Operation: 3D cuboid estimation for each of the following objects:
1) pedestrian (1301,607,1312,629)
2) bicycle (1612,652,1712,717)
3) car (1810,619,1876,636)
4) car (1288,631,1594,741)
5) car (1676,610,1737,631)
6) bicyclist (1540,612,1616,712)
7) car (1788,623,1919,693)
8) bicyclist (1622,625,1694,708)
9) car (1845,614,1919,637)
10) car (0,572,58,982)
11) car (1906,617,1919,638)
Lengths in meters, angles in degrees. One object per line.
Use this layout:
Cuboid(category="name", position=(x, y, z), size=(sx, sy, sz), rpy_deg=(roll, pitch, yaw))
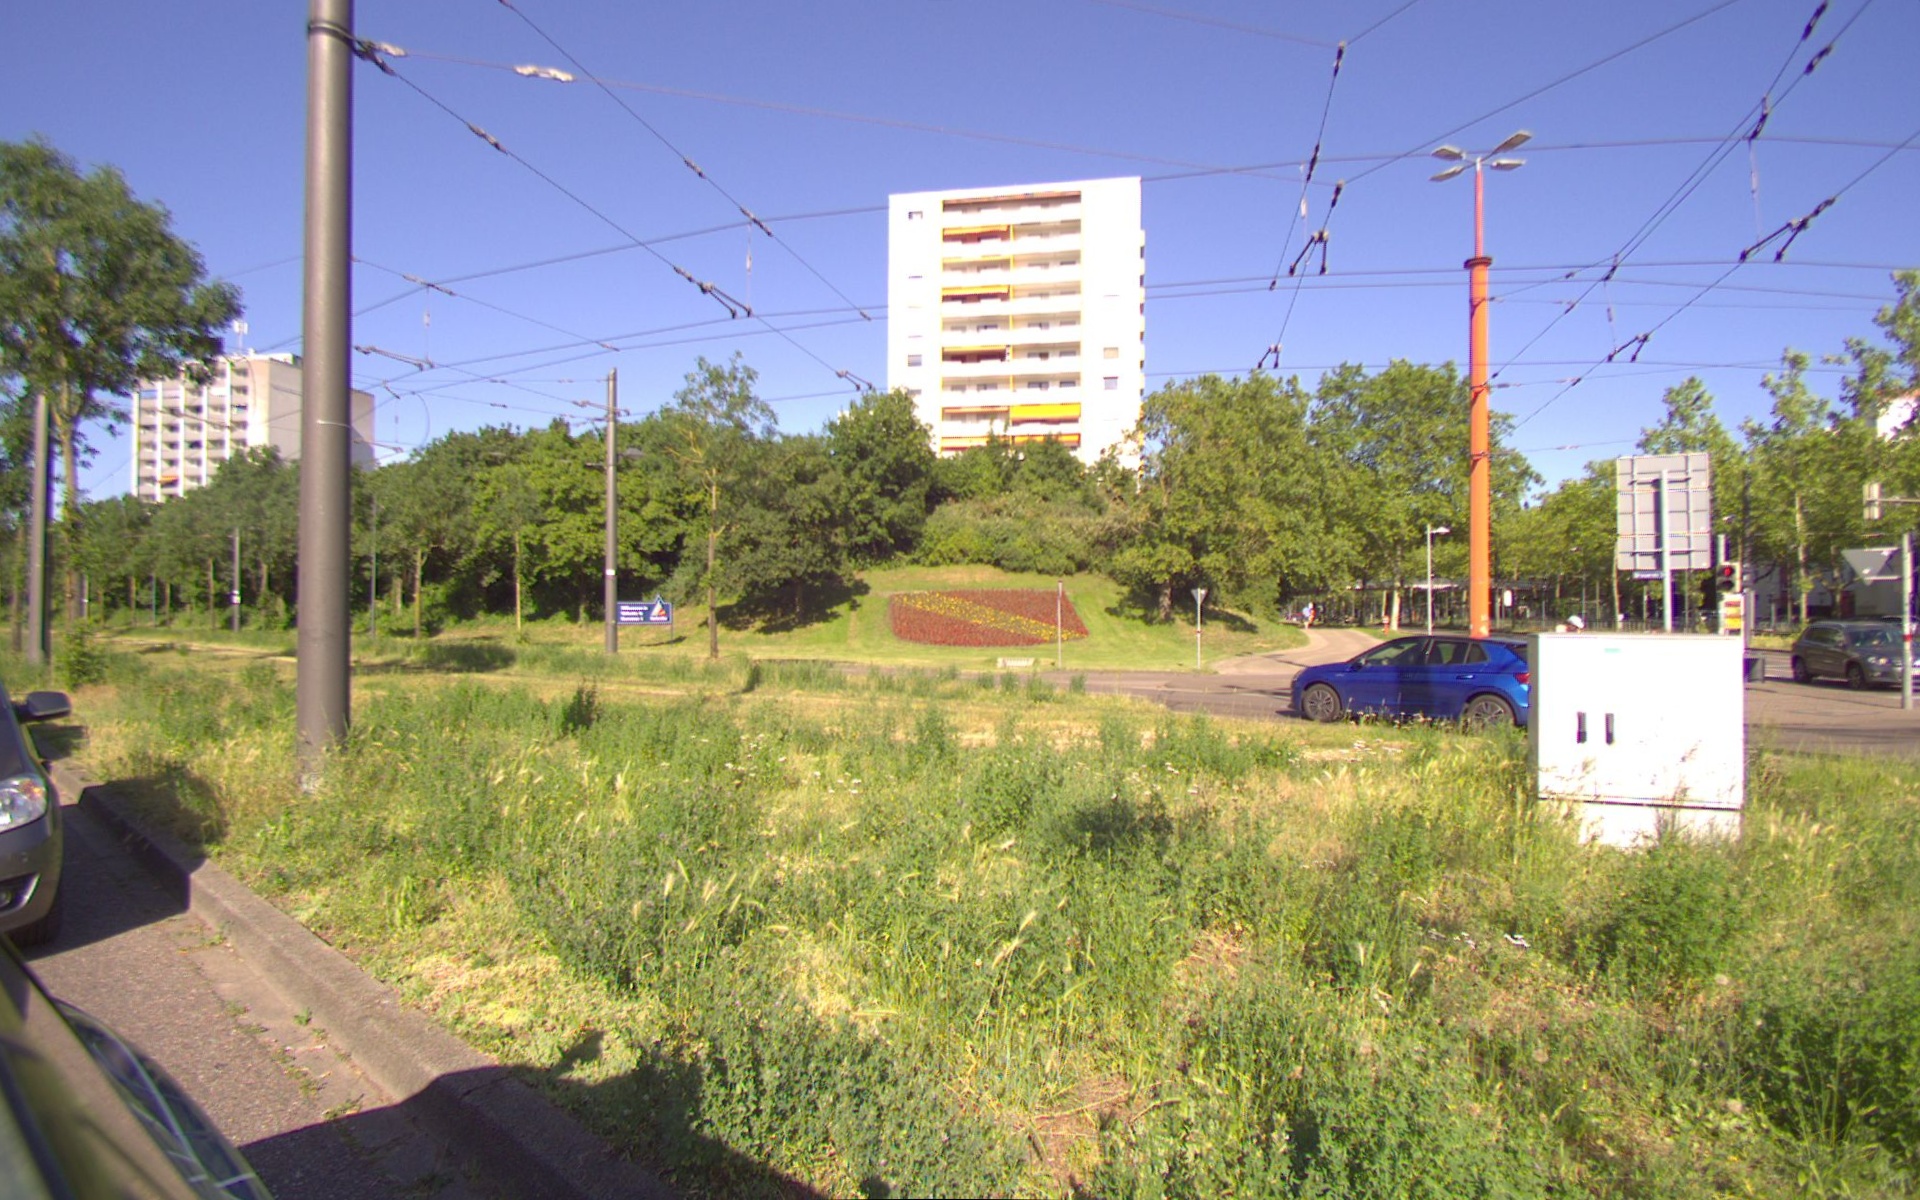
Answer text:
Cuboid(category="pedestrian", position=(24.861, 1.309, 72.665), size=(0.682, 1.568, 0.984), rpy_deg=(-1, 0, 21))
Cuboid(category="bicycle", position=(13.501, 1.601, 19.530), size=(0.571, 1.079, 1.916), rpy_deg=(-1, 0, 0))
Cuboid(category="car", position=(64.401, 2.001, 73.841), size=(1.425, 1.197, 3.423), rpy_deg=(-1, 0, -41))
Cuboid(category="car", position=(7.180, 1.198, 15.431), size=(1.554, 1.431, 3.915), rpy_deg=(1, -2, -40))
Cuboid(category="car", position=(72.138, 1.954, 97.867), size=(1.909, 1.999, 4.350), rpy_deg=(1, -2, -38))
Cuboid(category="bicyclist", position=(12.112, 1.197, 19.865), size=(0.880, 1.881, 0.924), rpy_deg=(-1, 0, -2))
Cuboid(category="car", position=(23.013, 1.399, 25.411), size=(1.900, 1.507, 4.026), rpy_deg=(-1, 0, 15))
Cuboid(category="bicyclist", position=(13.488, 1.271, 19.580), size=(0.710, 1.536, 0.924), rpy_deg=(-1, 0, 0))
Cuboid(category="car", position=(63.797, 1.755, 69.989), size=(1.589, 1.471, 3.656), rpy_deg=(-1, 0, -38))
Cuboid(category="car", position=(-5.827, 0.755, 4.883), size=(3.998, 1.652, 1.726), rpy_deg=(-1, 0, 41))
Cuboid(category="car", position=(63.682, 1.788, 65.157), size=(1.472, 1.341, 3.746), rpy_deg=(-1, 0, -27))
